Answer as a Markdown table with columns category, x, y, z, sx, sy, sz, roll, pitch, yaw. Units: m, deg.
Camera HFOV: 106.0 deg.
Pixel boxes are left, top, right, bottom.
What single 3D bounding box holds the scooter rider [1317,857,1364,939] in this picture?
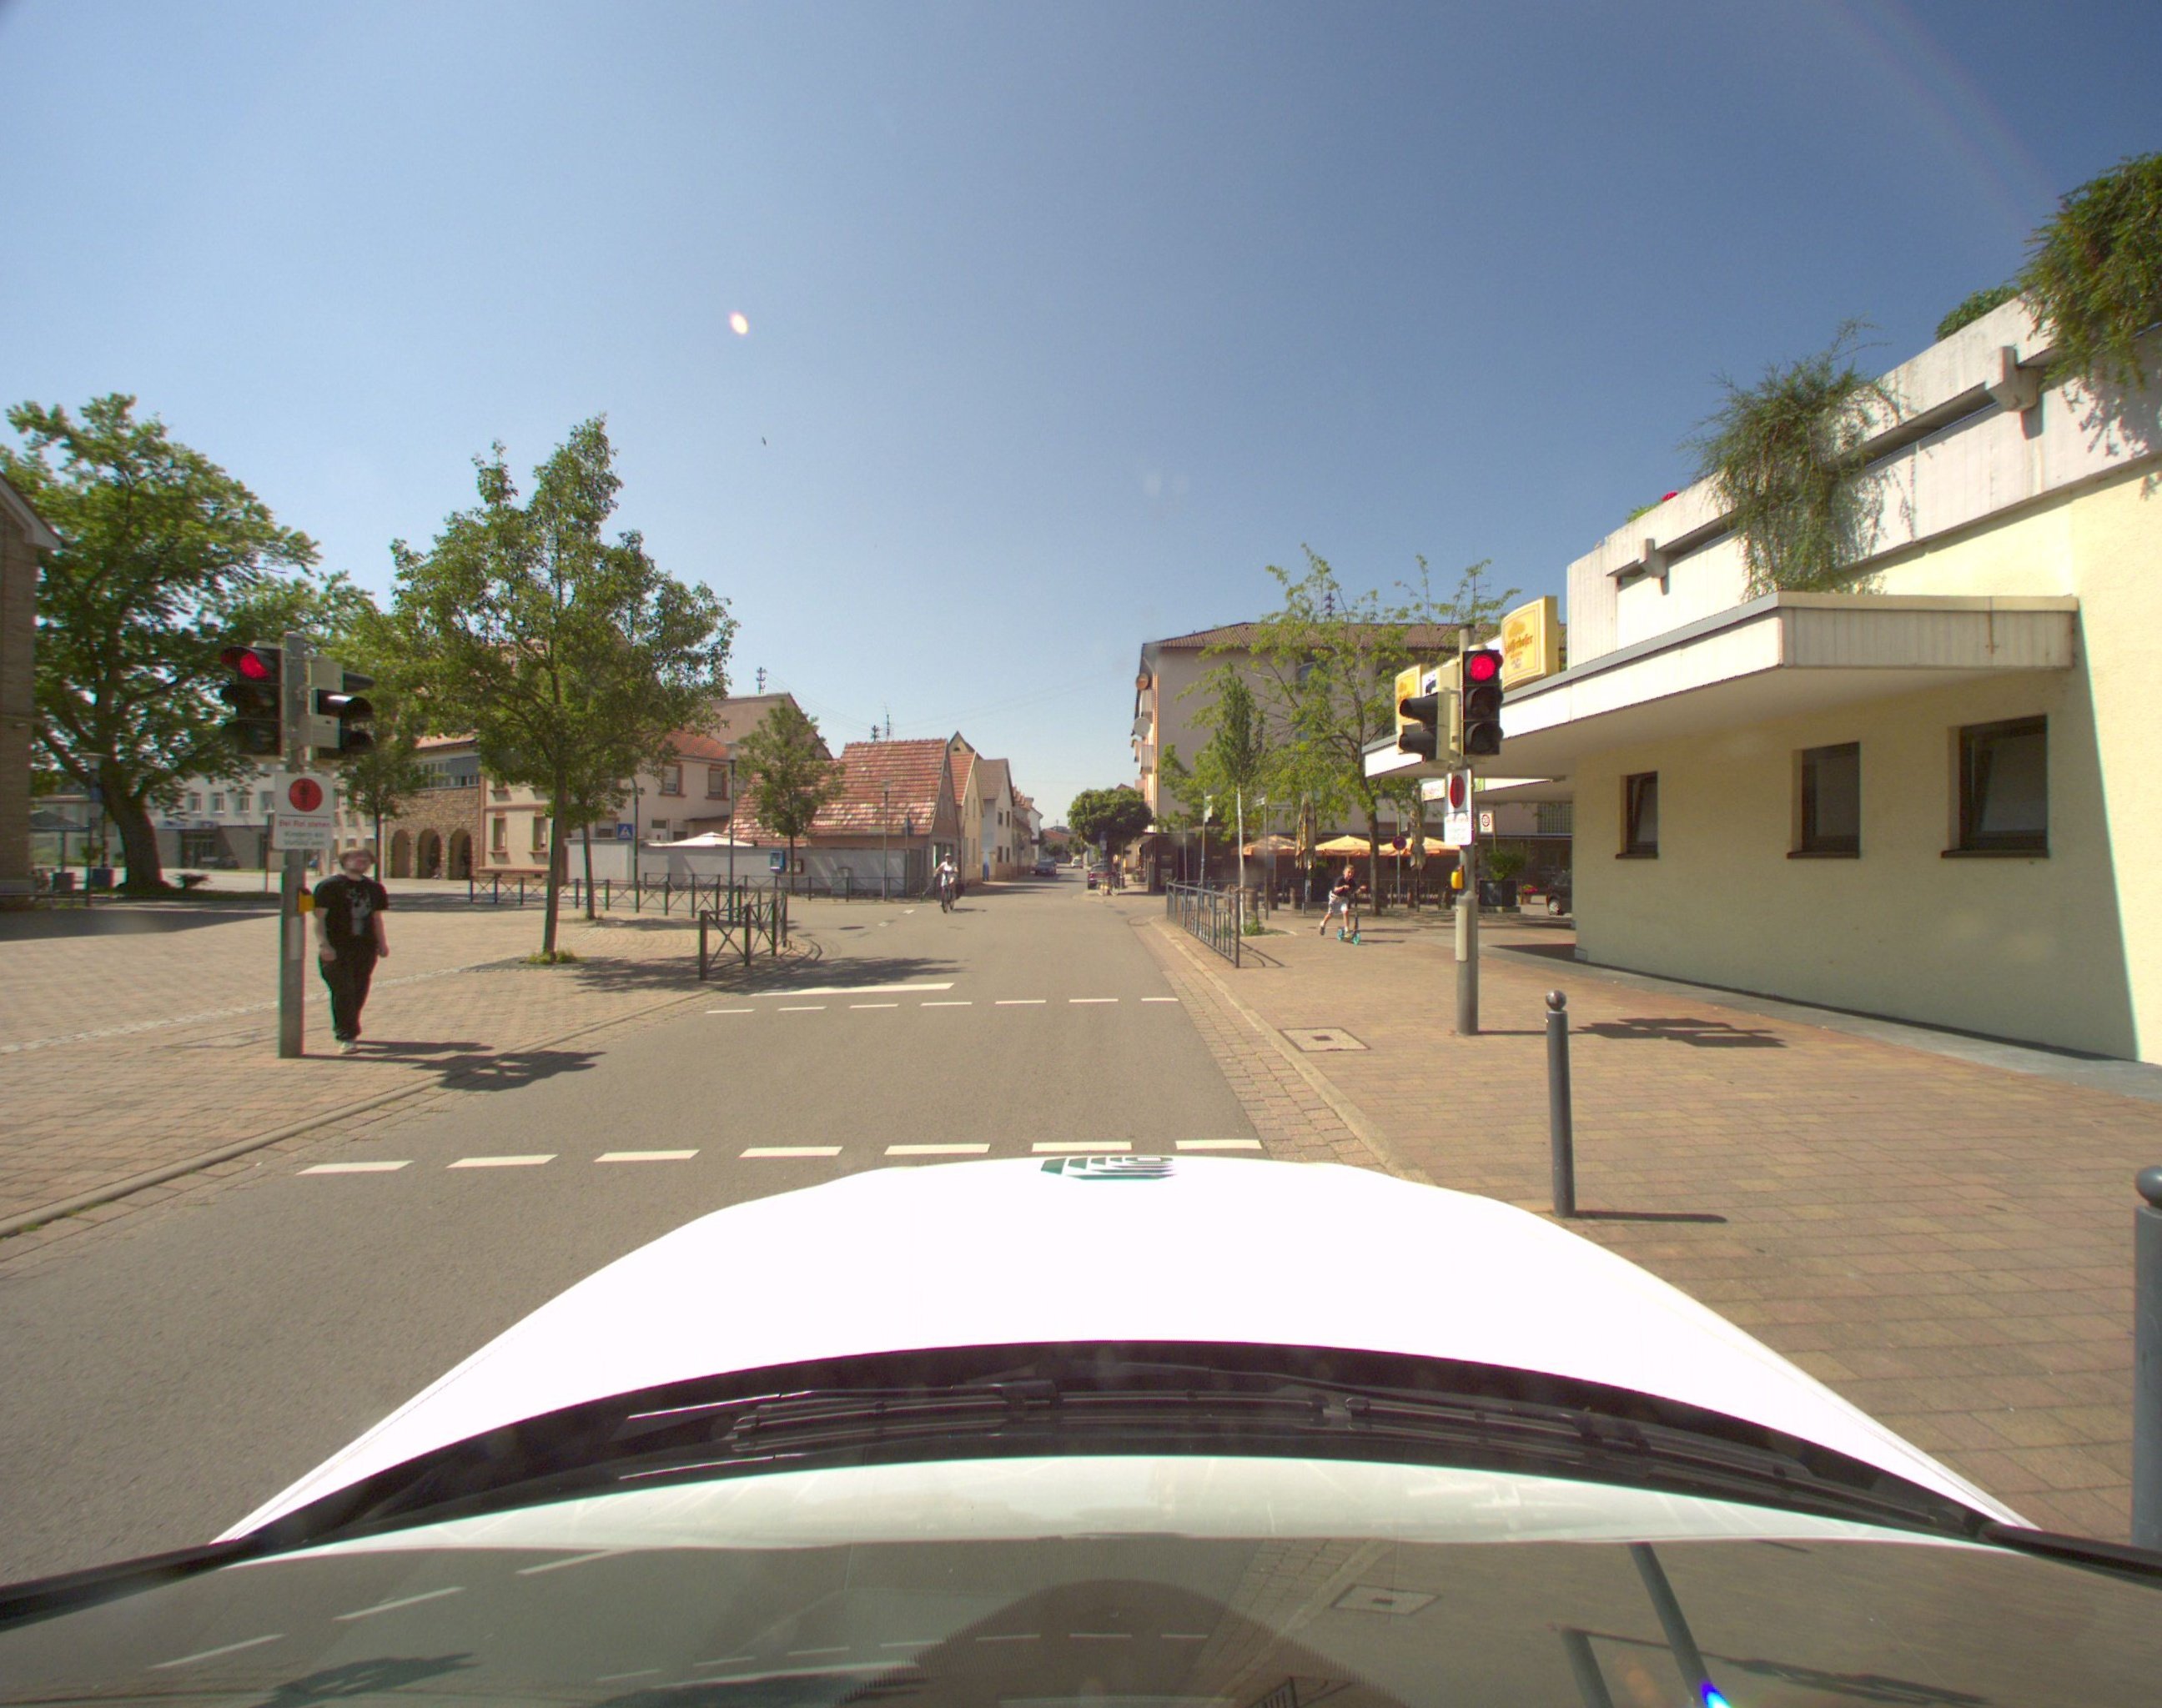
| category | x | y | z | sx | sy | sz | roll | pitch | yaw |
| --- | --- | --- | --- | --- | --- | --- | --- | --- | --- |
| scooter rider | 4.321 | 0.710 | 13.613 | 0.460 | 1.325 | 1.134 | 0 | -1 | 2 |

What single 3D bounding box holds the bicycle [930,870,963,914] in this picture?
| category | x | y | z | sx | sy | sz | roll | pitch | yaw |
| --- | --- | --- | --- | --- | --- | --- | --- | --- | --- |
| bicycle | -4.033 | 1.111 | 24.574 | 0.706 | 1.252 | 1.971 | 0 | -1 | -2 |

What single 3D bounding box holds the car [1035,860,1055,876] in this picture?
| category | x | y | z | sx | sy | sz | roll | pitch | yaw |
| --- | --- | --- | --- | --- | --- | --- | --- | --- | --- |
| car | -3.434 | 1.300 | 78.445 | 1.657 | 1.476 | 4.135 | 0 | 0 | 1 |

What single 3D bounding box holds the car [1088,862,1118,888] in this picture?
| category | x | y | z | sx | sy | sz | roll | pitch | yaw |
| --- | --- | --- | --- | --- | --- | --- | --- | --- | --- |
| car | 1.302 | 1.188 | 47.307 | 1.569 | 1.454 | 3.489 | -1 | -1 | 4 |

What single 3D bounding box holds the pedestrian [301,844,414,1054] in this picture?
| category | x | y | z | sx | sy | sz | roll | pitch | yaw |
| --- | --- | --- | --- | --- | --- | --- | --- | --- | --- |
| pedestrian | -5.935 | 0.741 | 6.686 | 0.543 | 1.619 | 0.561 | -1 | -2 | 37 |

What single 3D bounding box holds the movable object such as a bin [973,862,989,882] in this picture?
| category | x | y | z | sx | sy | sz | roll | pitch | yaw |
| --- | --- | --- | --- | --- | --- | --- | --- | --- | --- |
| movable object such as a bin | -7.012 | 1.257 | 57.096 | 1.096 | 1.366 | 0.390 | 0 | -1 | 5 |

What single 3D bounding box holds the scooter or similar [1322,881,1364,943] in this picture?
| category | x | y | z | sx | sy | sz | roll | pitch | yaw |
| --- | --- | --- | --- | --- | --- | --- | --- | --- | --- |
| scooter or similar | 4.313 | 0.944 | 13.446 | 0.409 | 0.965 | 0.961 | 0 | -1 | 3 |

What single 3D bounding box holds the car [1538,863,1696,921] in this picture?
| category | x | y | z | sx | sy | sz | roll | pitch | yaw |
| --- | --- | --- | --- | --- | --- | --- | --- | --- | --- |
| car | 15.245 | 1.051 | 23.459 | 1.763 | 1.510 | 3.965 | 1 | -1 | -4 |

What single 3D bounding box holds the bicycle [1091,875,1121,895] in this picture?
| category | x | y | z | sx | sy | sz | roll | pitch | yaw |
| --- | --- | --- | --- | --- | --- | --- | --- | --- | --- |
| bicycle | 1.189 | 1.480 | 38.681 | 1.396 | 0.897 | 0.468 | -2 | 0 | 38 |

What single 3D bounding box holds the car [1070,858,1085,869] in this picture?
| category | x | y | z | sx | sy | sz | roll | pitch | yaw |
| --- | --- | --- | --- | --- | --- | --- | --- | --- | --- |
| car | -0.558 | 1.413 | 125.194 | 2.023 | 1.598 | 4.502 | 0 | -1 | -4 |

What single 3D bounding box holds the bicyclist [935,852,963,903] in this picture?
| category | x | y | z | sx | sy | sz | roll | pitch | yaw |
| --- | --- | --- | --- | --- | --- | --- | --- | --- | --- |
| bicyclist | -3.995 | 0.703 | 24.629 | 0.712 | 1.506 | 0.870 | 0 | -1 | -2 |

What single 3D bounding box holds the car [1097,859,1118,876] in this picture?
| category | x | y | z | sx | sy | sz | roll | pitch | yaw |
| --- | --- | --- | --- | --- | --- | --- | --- | --- | --- |
| car | 2.667 | 1.316 | 81.166 | 2.035 | 1.689 | 4.843 | 0 | 0 | 2 |

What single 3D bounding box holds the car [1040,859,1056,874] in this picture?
| category | x | y | z | sx | sy | sz | roll | pitch | yaw |
| --- | --- | --- | --- | --- | --- | --- | --- | --- | --- |
| car | -3.451 | 1.321 | 85.004 | 1.659 | 1.476 | 3.448 | 0 | -1 | -2 |
